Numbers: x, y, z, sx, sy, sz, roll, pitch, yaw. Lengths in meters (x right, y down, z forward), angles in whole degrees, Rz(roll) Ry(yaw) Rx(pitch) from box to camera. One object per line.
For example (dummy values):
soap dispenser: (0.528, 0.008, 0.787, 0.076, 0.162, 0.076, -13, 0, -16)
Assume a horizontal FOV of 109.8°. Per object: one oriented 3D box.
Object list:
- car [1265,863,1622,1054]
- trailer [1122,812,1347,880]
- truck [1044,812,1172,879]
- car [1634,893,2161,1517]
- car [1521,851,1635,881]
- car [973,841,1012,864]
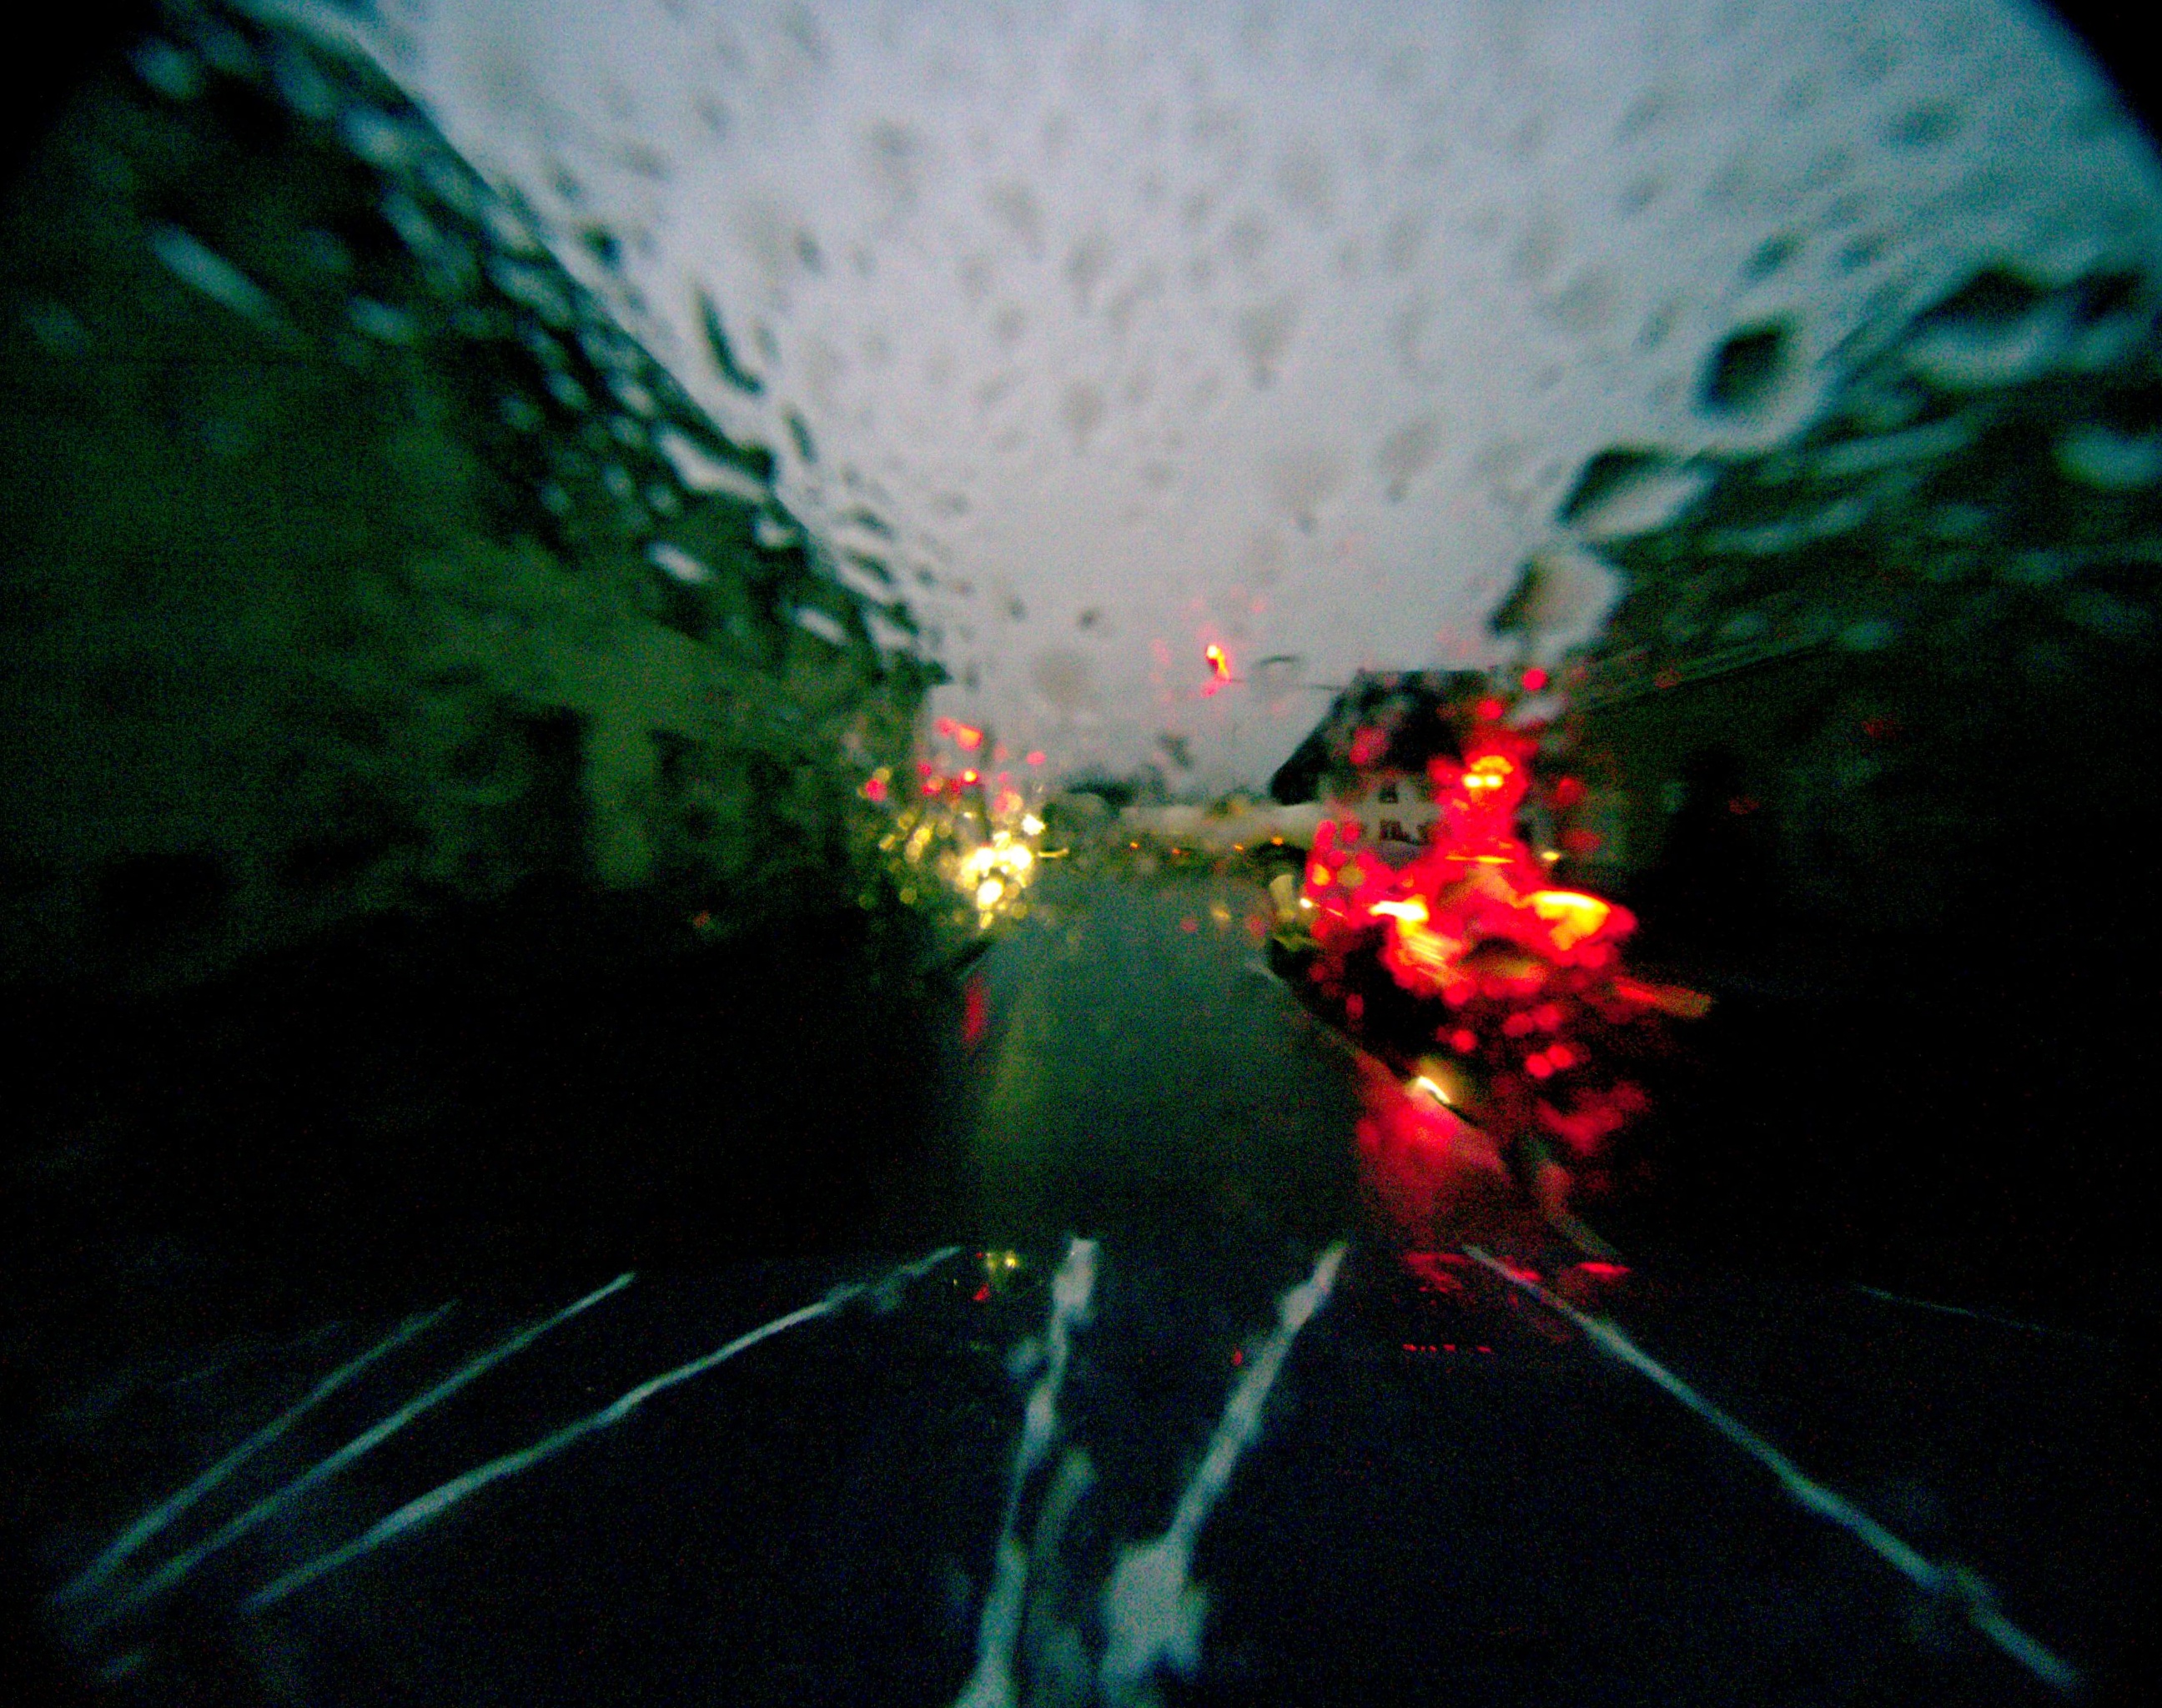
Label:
car: (3.387, 0.843, 8.232, 1.884, 1.386, 4.524, 1, 0, 3)
trailer: (7.508, -0.392, 38.255, 10.858, 3.222, 2.496, 0, 0, 2)
truck: (1.353, -0.415, 38.459, 6.267, 3.211, 2.470, 0, 0, 2)
car: (3.464, 0.896, 1.379, 1.829, 1.365, 4.285, 1, 1, 1)
car: (24.025, 0.571, 36.823, 4.377, 1.430, 1.668, 0, 0, 2)
car: (-6.718, -0.138, 57.352, 1.820, 1.679, 3.908, 1, 0, -23)
